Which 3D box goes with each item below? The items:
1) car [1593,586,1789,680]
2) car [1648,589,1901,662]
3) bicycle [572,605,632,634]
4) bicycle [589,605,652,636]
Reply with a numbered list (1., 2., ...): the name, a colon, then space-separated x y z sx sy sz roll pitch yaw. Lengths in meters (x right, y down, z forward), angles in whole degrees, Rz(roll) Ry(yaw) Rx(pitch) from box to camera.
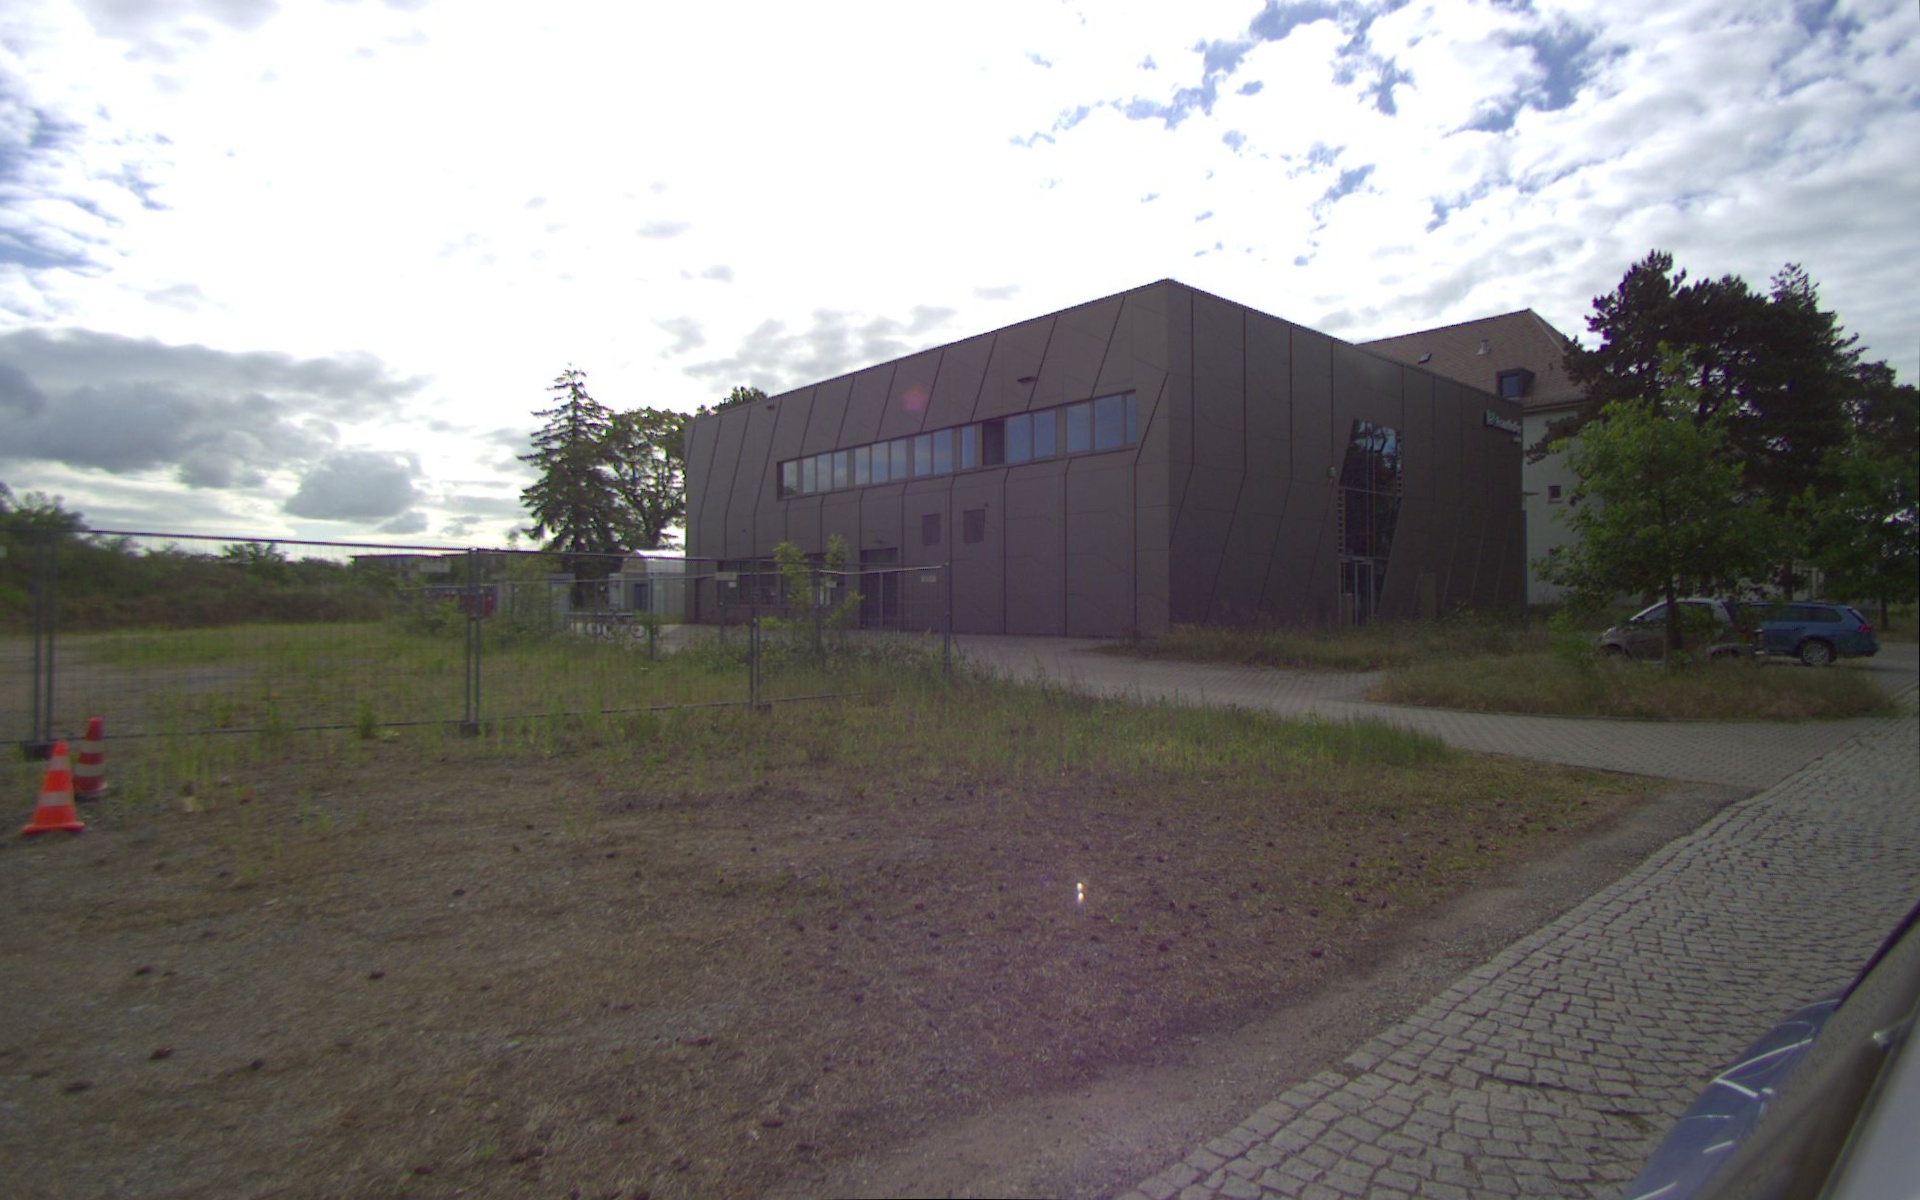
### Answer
1. car: 14.053 0.565 19.528 1.653 1.601 2.746 0 2 -41
2. car: 19.488 0.530 24.374 1.899 1.468 4.530 0 2 -43
3. bicycle: -13.470 0.728 38.070 1.953 1.038 0.835 -1 0 -39
4. bicycle: -12.197 0.710 36.373 1.953 1.038 0.835 -1 0 -39
